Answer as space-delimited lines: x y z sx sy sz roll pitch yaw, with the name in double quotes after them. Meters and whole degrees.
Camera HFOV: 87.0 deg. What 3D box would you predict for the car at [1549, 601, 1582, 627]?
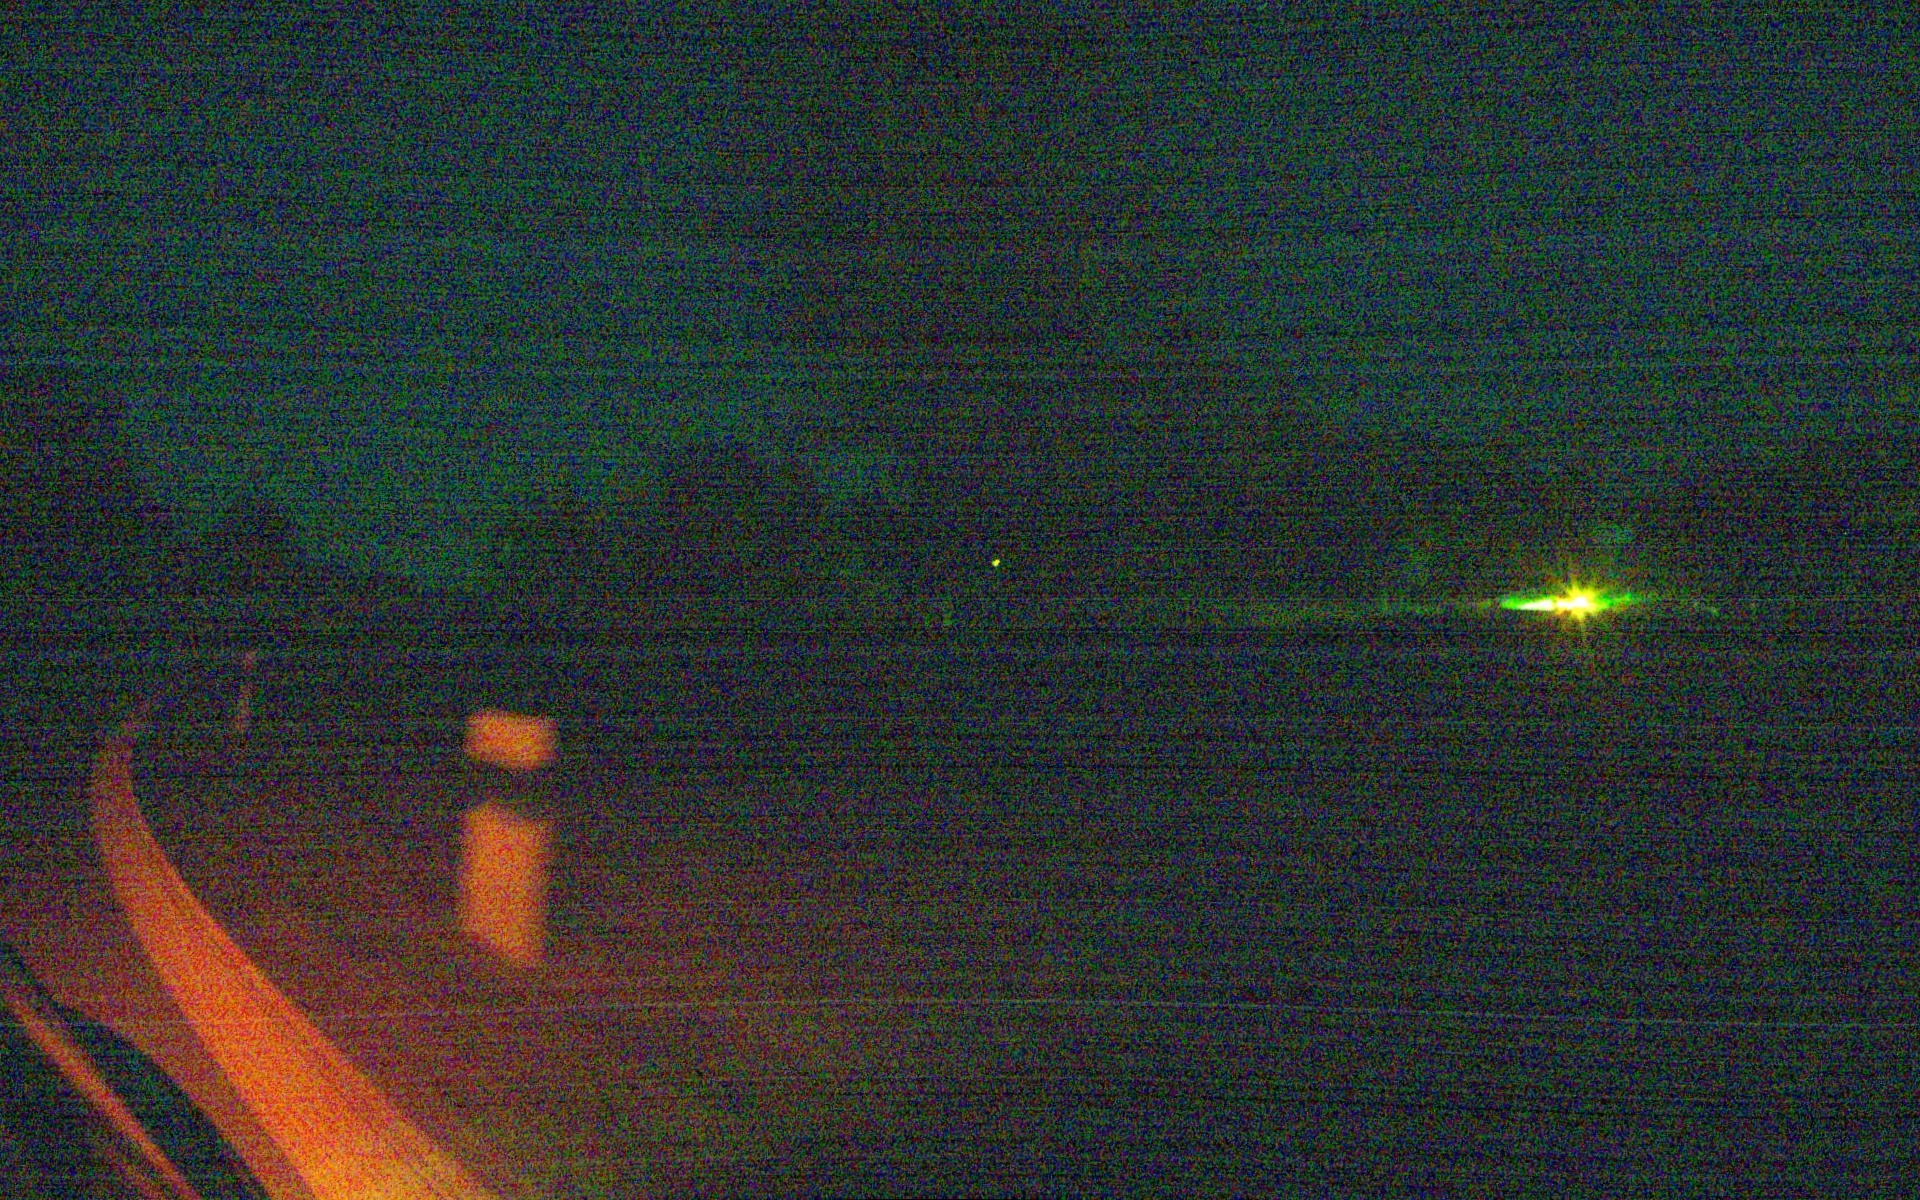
43.469 1.014 72.637 1.871 1.798 3.956 -2 -1 33 "car"
